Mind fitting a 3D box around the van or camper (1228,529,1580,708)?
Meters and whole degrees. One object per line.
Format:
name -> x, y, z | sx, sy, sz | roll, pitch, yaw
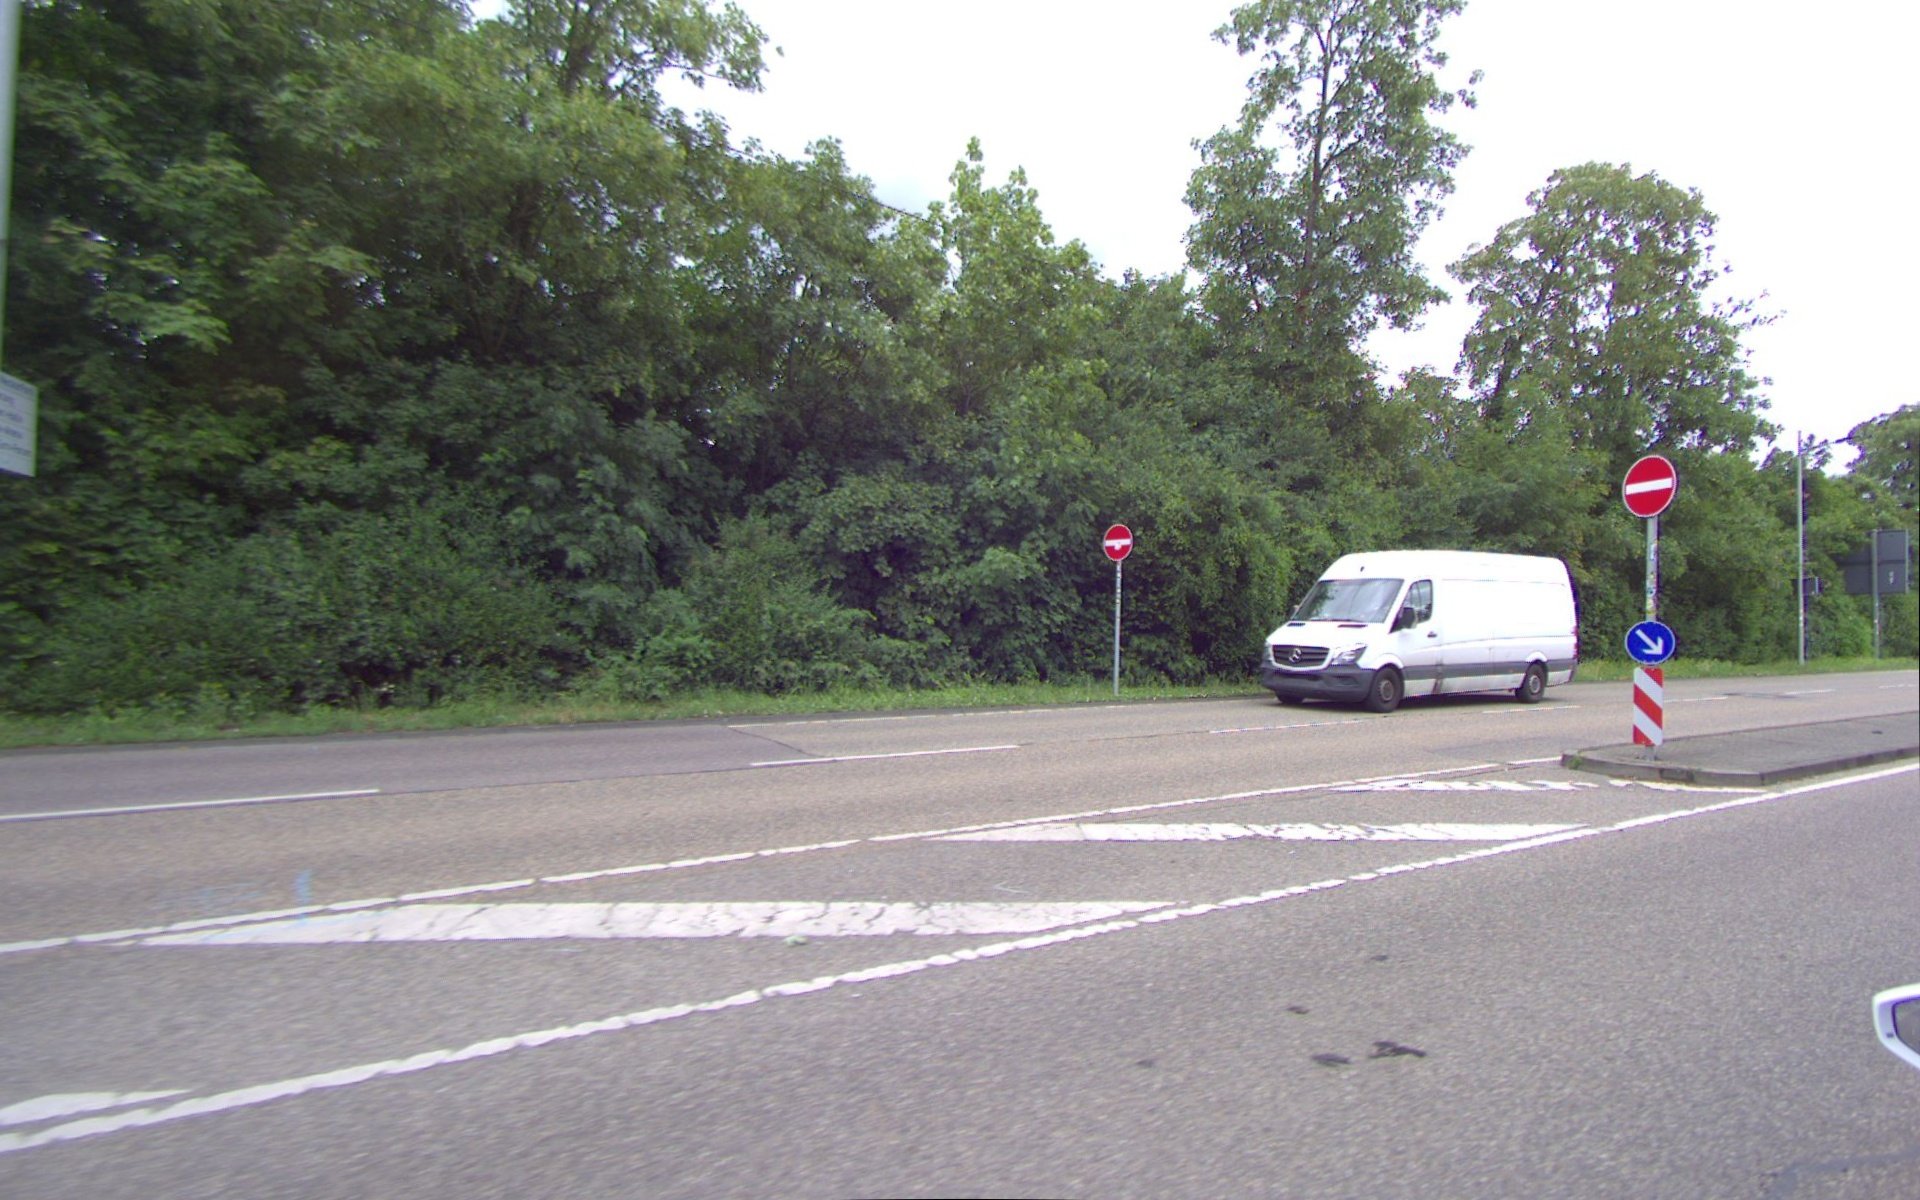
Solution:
van or camper -> 7.845, 0.354, 17.373 | 6.786, 2.588, 2.270 | 1, -1, -33
